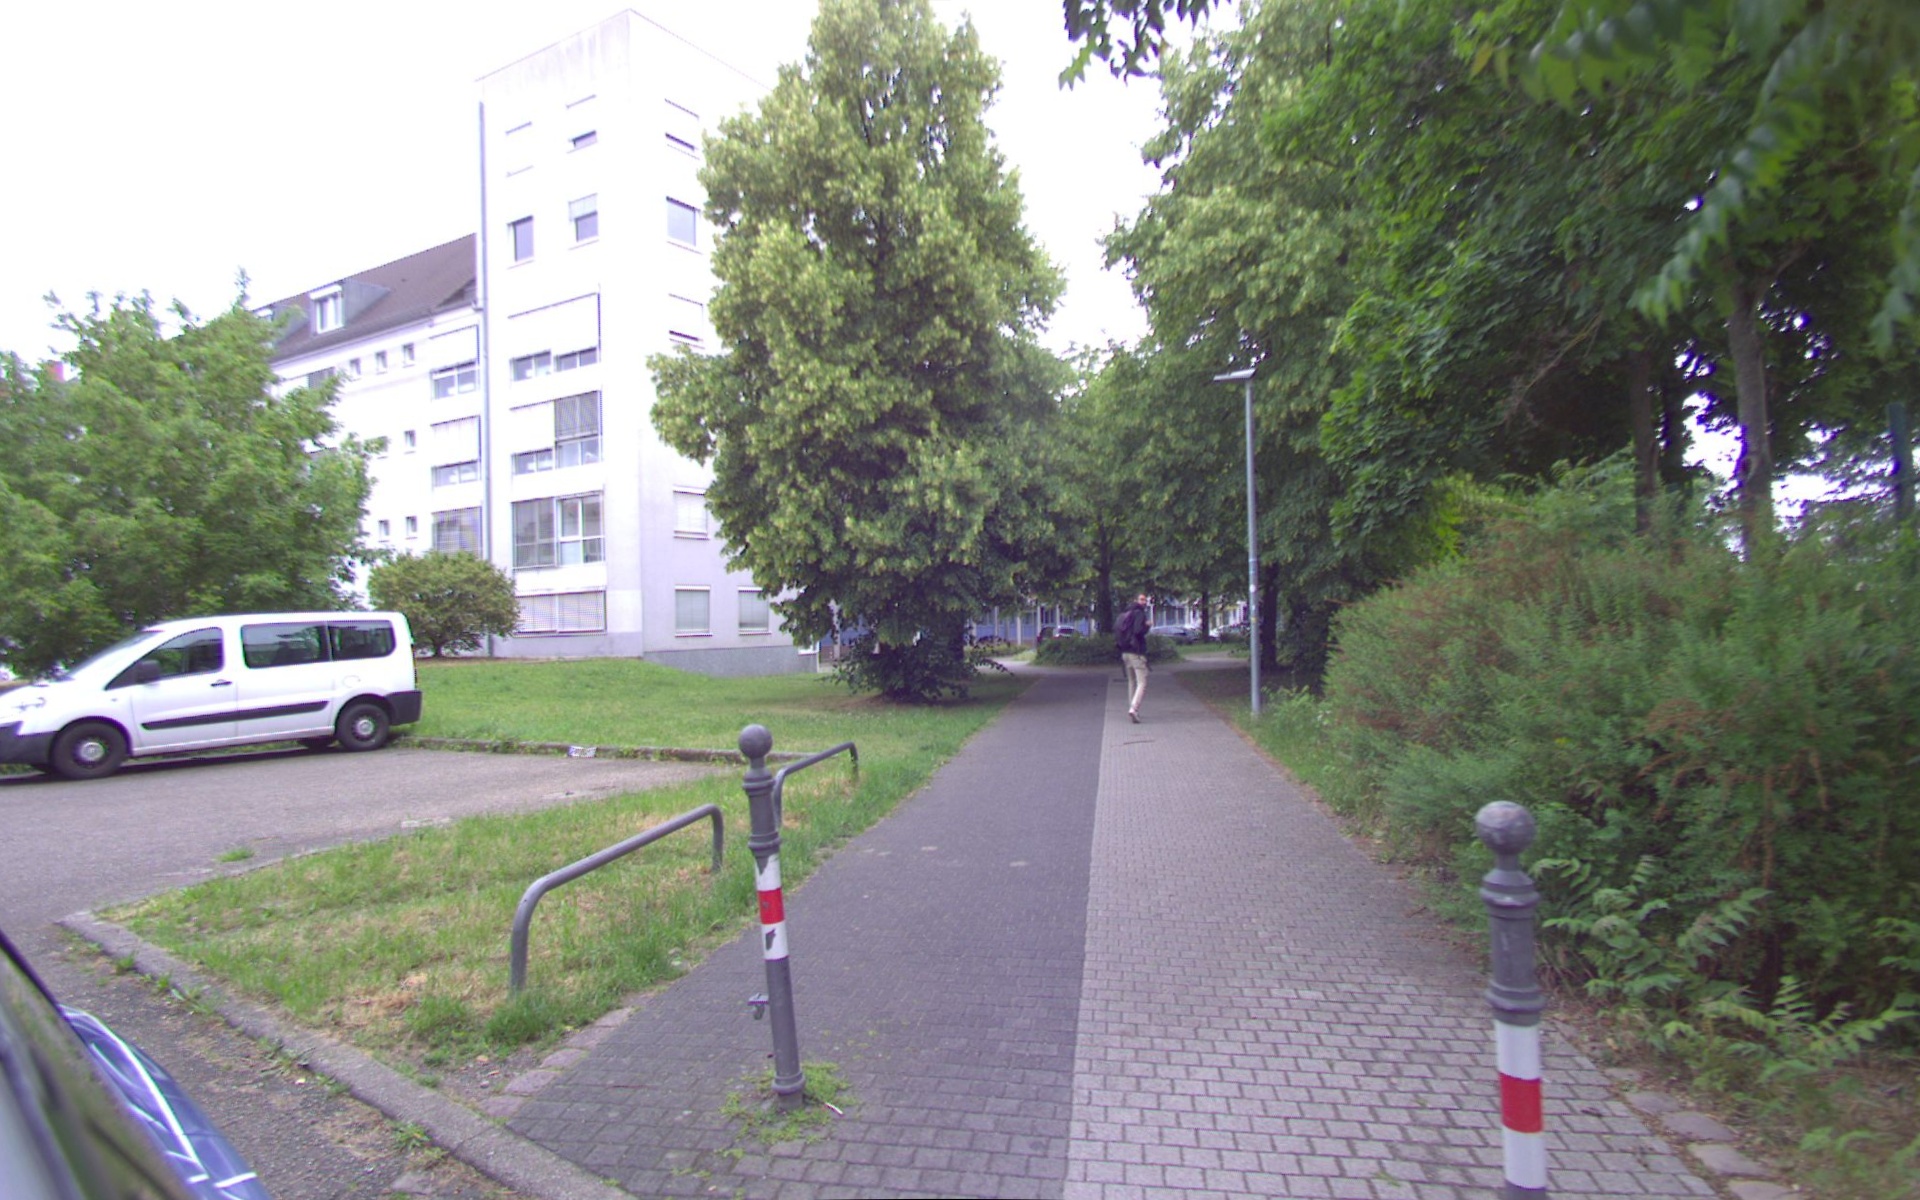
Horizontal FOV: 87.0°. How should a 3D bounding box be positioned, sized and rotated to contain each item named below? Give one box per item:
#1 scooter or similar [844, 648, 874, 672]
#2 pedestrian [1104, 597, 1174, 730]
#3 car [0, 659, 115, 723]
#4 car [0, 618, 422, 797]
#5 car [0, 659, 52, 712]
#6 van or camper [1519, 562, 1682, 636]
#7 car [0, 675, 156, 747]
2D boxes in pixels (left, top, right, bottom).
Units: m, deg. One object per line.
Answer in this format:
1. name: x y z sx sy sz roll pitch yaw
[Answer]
1. scooter or similar: -5.375 3.184 53.934 0.789 1.197 2.506 -2 -2 14
2. pedestrian: 2.456 0.850 13.869 0.681 1.763 0.613 -3 -2 40
3. car: -28.814 2.775 30.843 1.992 1.748 4.298 -2 -2 29
4. car: -9.934 1.266 13.256 1.898 1.887 4.714 -6 -3 37
5. car: -33.532 2.930 33.876 1.992 1.748 4.298 -2 -2 29
6. van or camper: 21.566 0.018 34.143 4.493 2.275 1.975 -2 -2 36
7. car: -26.069 3.149 29.032 1.992 1.748 4.298 -2 -2 29
